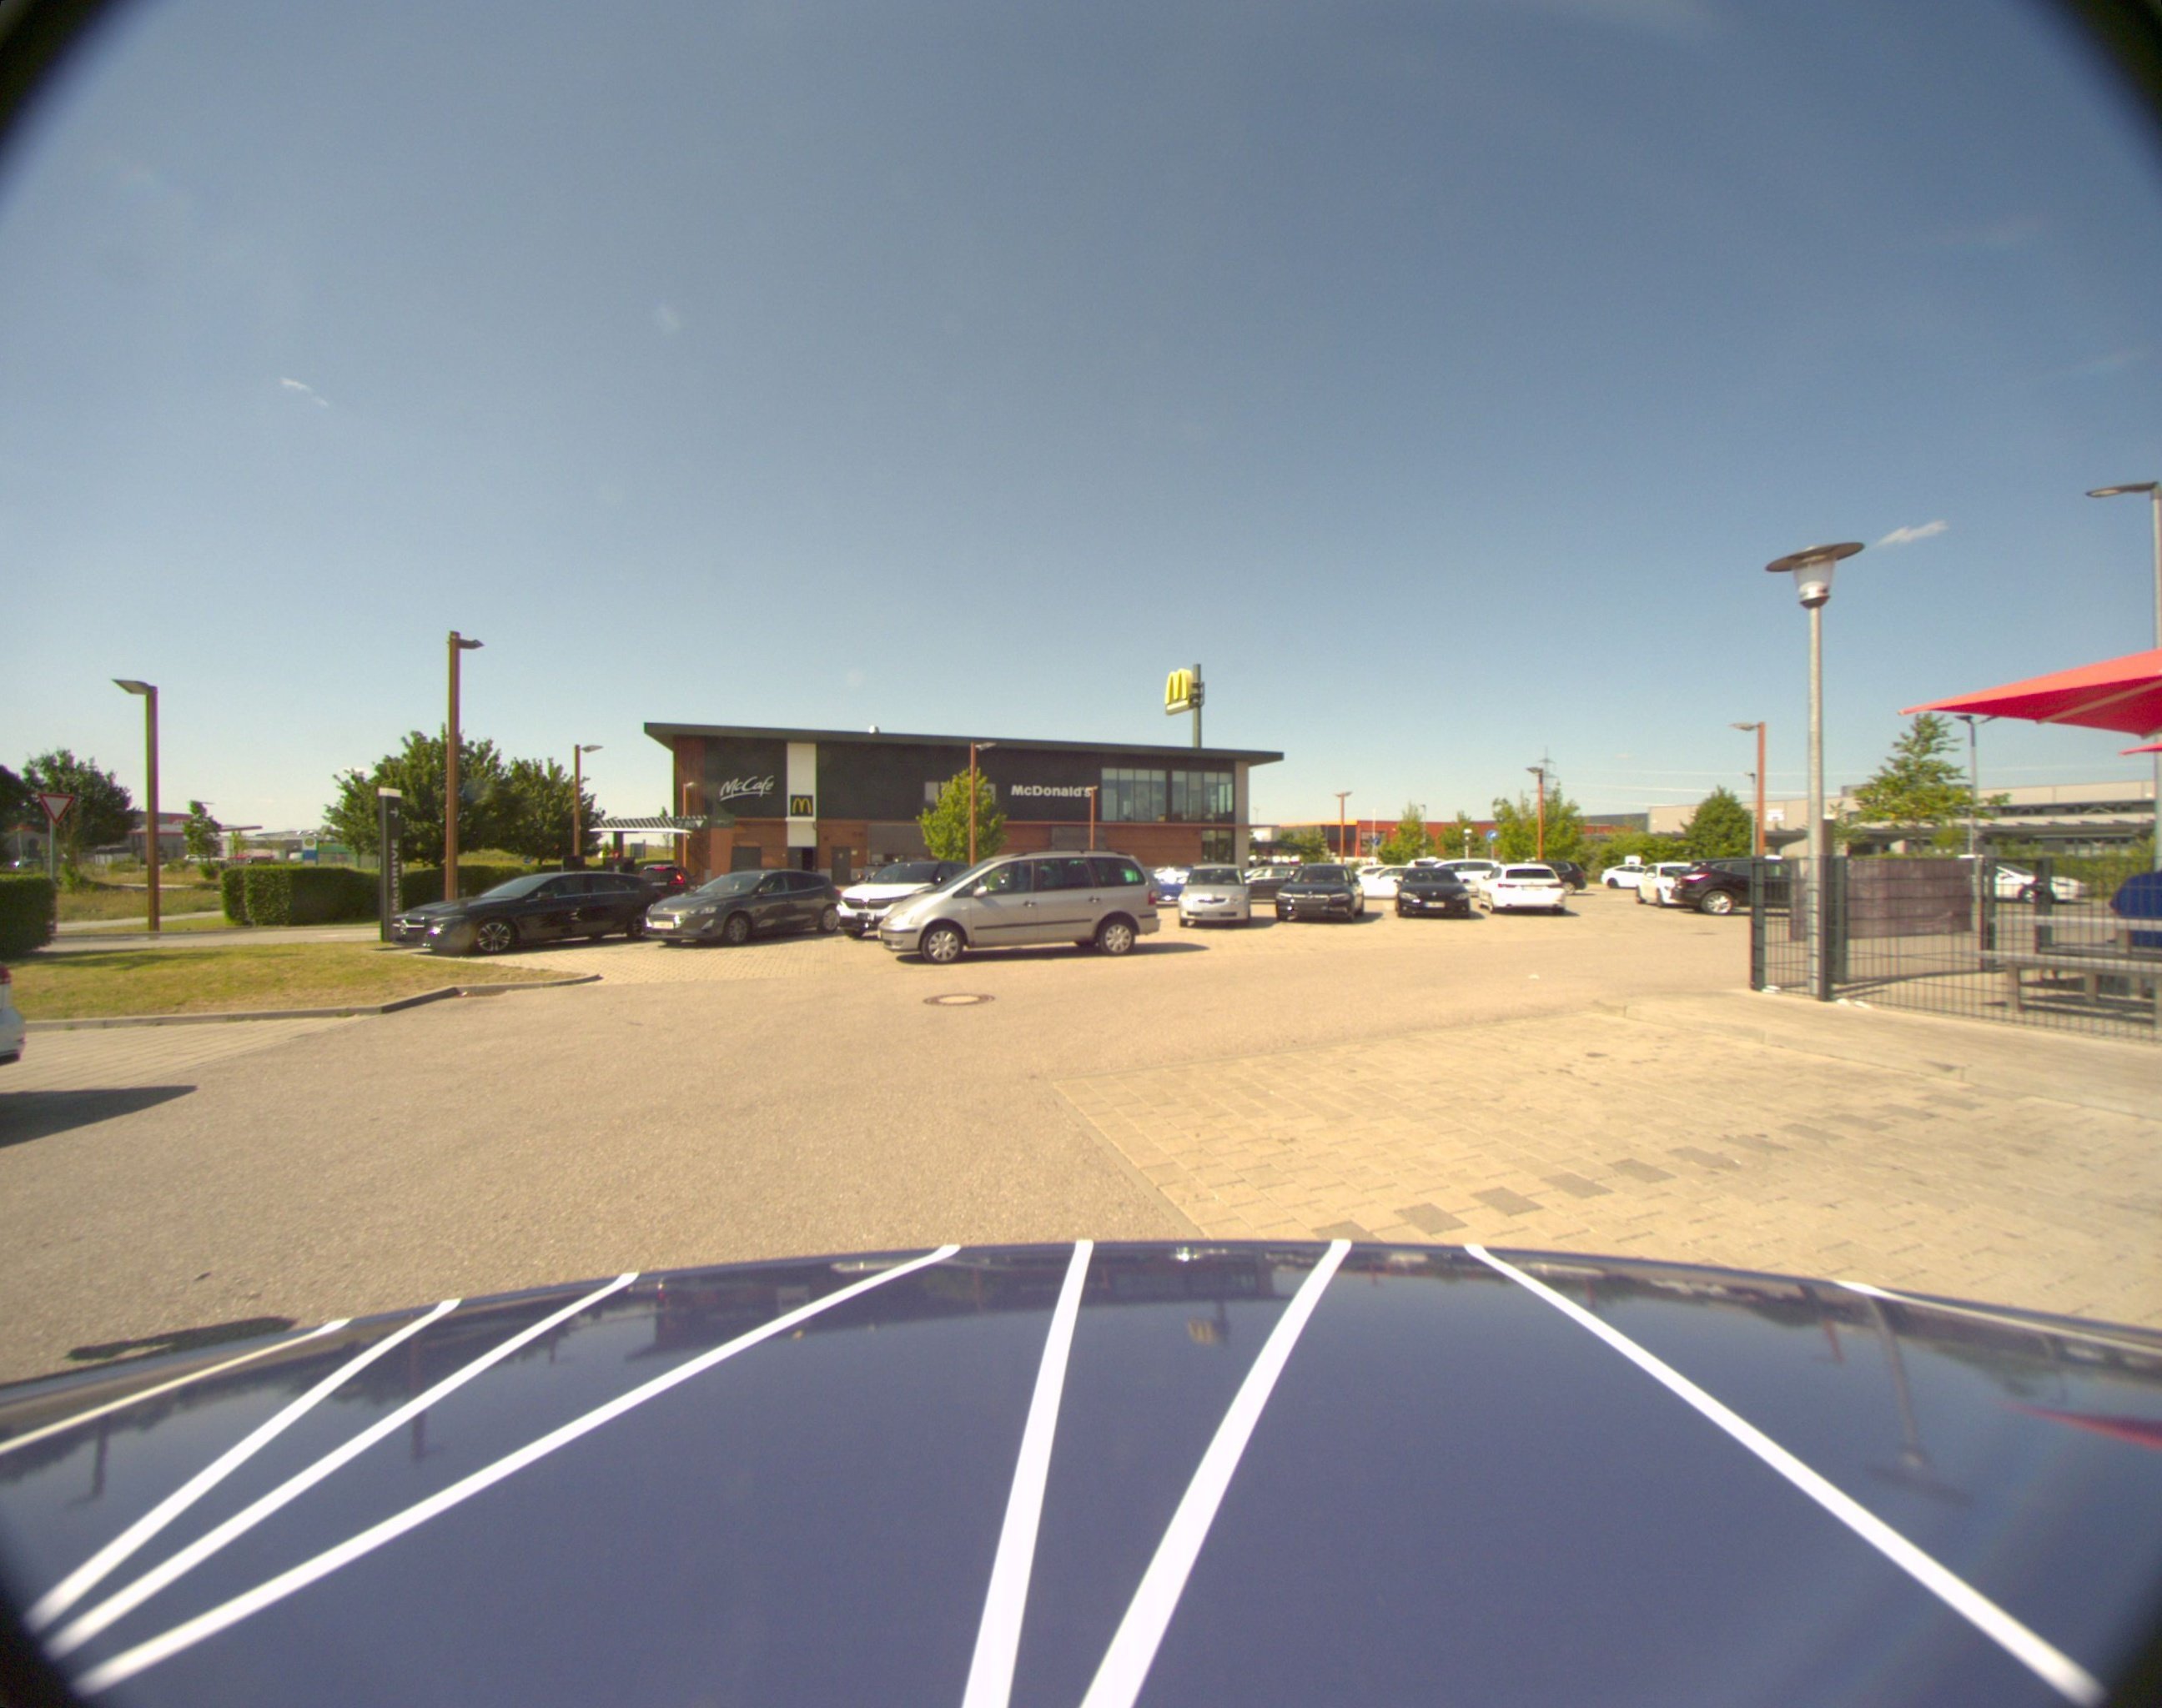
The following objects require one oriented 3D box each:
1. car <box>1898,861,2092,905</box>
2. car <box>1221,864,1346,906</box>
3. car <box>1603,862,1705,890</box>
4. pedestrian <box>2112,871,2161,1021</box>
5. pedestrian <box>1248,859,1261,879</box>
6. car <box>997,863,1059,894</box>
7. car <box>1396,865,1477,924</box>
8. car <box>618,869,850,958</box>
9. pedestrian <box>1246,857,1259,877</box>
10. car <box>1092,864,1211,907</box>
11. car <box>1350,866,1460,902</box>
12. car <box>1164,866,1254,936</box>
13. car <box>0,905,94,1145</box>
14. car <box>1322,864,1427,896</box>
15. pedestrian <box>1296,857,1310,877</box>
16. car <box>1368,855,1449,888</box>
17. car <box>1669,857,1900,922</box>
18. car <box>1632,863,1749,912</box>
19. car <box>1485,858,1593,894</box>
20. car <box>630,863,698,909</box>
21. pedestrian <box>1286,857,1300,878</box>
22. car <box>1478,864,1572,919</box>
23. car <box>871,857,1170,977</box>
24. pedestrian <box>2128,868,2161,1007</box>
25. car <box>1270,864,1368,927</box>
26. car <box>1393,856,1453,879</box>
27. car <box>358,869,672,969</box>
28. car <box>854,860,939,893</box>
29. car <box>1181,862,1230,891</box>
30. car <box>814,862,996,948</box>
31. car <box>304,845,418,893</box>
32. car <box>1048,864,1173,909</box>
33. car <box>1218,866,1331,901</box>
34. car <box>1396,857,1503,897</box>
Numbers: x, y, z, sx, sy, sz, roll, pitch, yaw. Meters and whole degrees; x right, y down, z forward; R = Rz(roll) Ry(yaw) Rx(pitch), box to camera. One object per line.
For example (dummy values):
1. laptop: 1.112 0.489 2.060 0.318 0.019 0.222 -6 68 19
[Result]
1. car: 35.886 1.060 30.026 1.844 1.583 4.568 0 0 -22
2. car: 7.681 1.144 28.872 4.269 1.478 1.817 -1 0 27
3. car: 31.960 1.200 42.550 1.844 1.470 4.326 0 0 -18
4. pedestrian: 9.464 0.787 6.578 0.625 1.266 0.612 0 0 -35
5. pedestrian: 13.955 1.210 61.071 0.700 1.550 0.724 -1 0 43
6. car: -2.738 1.254 40.183 1.710 1.506 3.957 0 0 21
7. car: 9.897 1.060 21.424 1.832 1.451 4.378 -1 -1 22
8. car: -6.871 1.092 15.601 1.971 1.517 4.213 -1 -1 19
9. pedestrian: 13.333 1.034 58.962 0.700 1.550 0.724 -1 0 43
10. car: 2.674 1.152 28.912 4.104 1.506 1.817 -1 0 27
11. car: 13.504 1.214 31.714 4.104 1.405 1.817 -1 0 27
12. car: 3.256 1.073 18.972 1.972 1.517 4.211 0 -1 11
13. car: -8.880 1.136 3.912 4.483 1.460 1.831 -1 0 -12
14. car: 14.508 1.260 37.567 4.632 1.478 1.899 -1 0 27
15. pedestrian: 17.252 1.027 59.045 0.702 1.550 0.721 0 0 -18
16. car: 18.351 0.991 42.604 3.947 1.764 1.657 -1 -1 32
17. car: 18.914 0.895 20.726 4.292 1.581 1.861 0 0 28
18. car: 19.717 1.018 24.813 1.970 1.451 4.215 -1 -1 24
19. car: 20.462 0.963 34.134 3.990 1.543 1.758 -1 -1 24
20. car: -16.748 1.236 30.714 1.999 1.681 4.228 0 0 -23
21. pedestrian: 16.265 1.023 58.344 0.702 1.550 0.721 0 0 -18
22. car: 13.013 1.023 22.522 1.832 1.451 4.592 -1 -1 23
23. car: -1.035 0.934 12.769 4.687 1.738 1.830 0 0 -19
24. pedestrian: 10.336 0.763 7.060 0.843 1.266 0.684 0 0 -35
25. car: 6.519 1.011 20.430 1.970 1.478 4.792 -1 -1 24
26. car: 23.644 0.912 52.631 1.765 1.552 3.879 0 -1 -15
27. car: -10.396 1.073 14.379 1.970 1.517 4.341 0 0 26
28. car: -9.258 1.098 38.484 1.958 1.593 4.475 -1 -1 21
29. car: 7.227 1.282 43.912 1.713 1.603 4.044 -1 -1 26
30. car: -3.717 1.018 16.893 1.971 1.644 4.214 -1 -1 20
31. car: -34.978 0.709 37.120 2.001 2.184 5.099 0 -1 -17
32. car: 1.044 1.114 27.229 4.104 1.484 1.715 -1 0 27
33. car: 8.741 1.294 34.445 4.632 1.478 1.899 -1 0 27
34. car: 16.155 0.976 33.391 4.104 1.664 1.817 -1 0 27
